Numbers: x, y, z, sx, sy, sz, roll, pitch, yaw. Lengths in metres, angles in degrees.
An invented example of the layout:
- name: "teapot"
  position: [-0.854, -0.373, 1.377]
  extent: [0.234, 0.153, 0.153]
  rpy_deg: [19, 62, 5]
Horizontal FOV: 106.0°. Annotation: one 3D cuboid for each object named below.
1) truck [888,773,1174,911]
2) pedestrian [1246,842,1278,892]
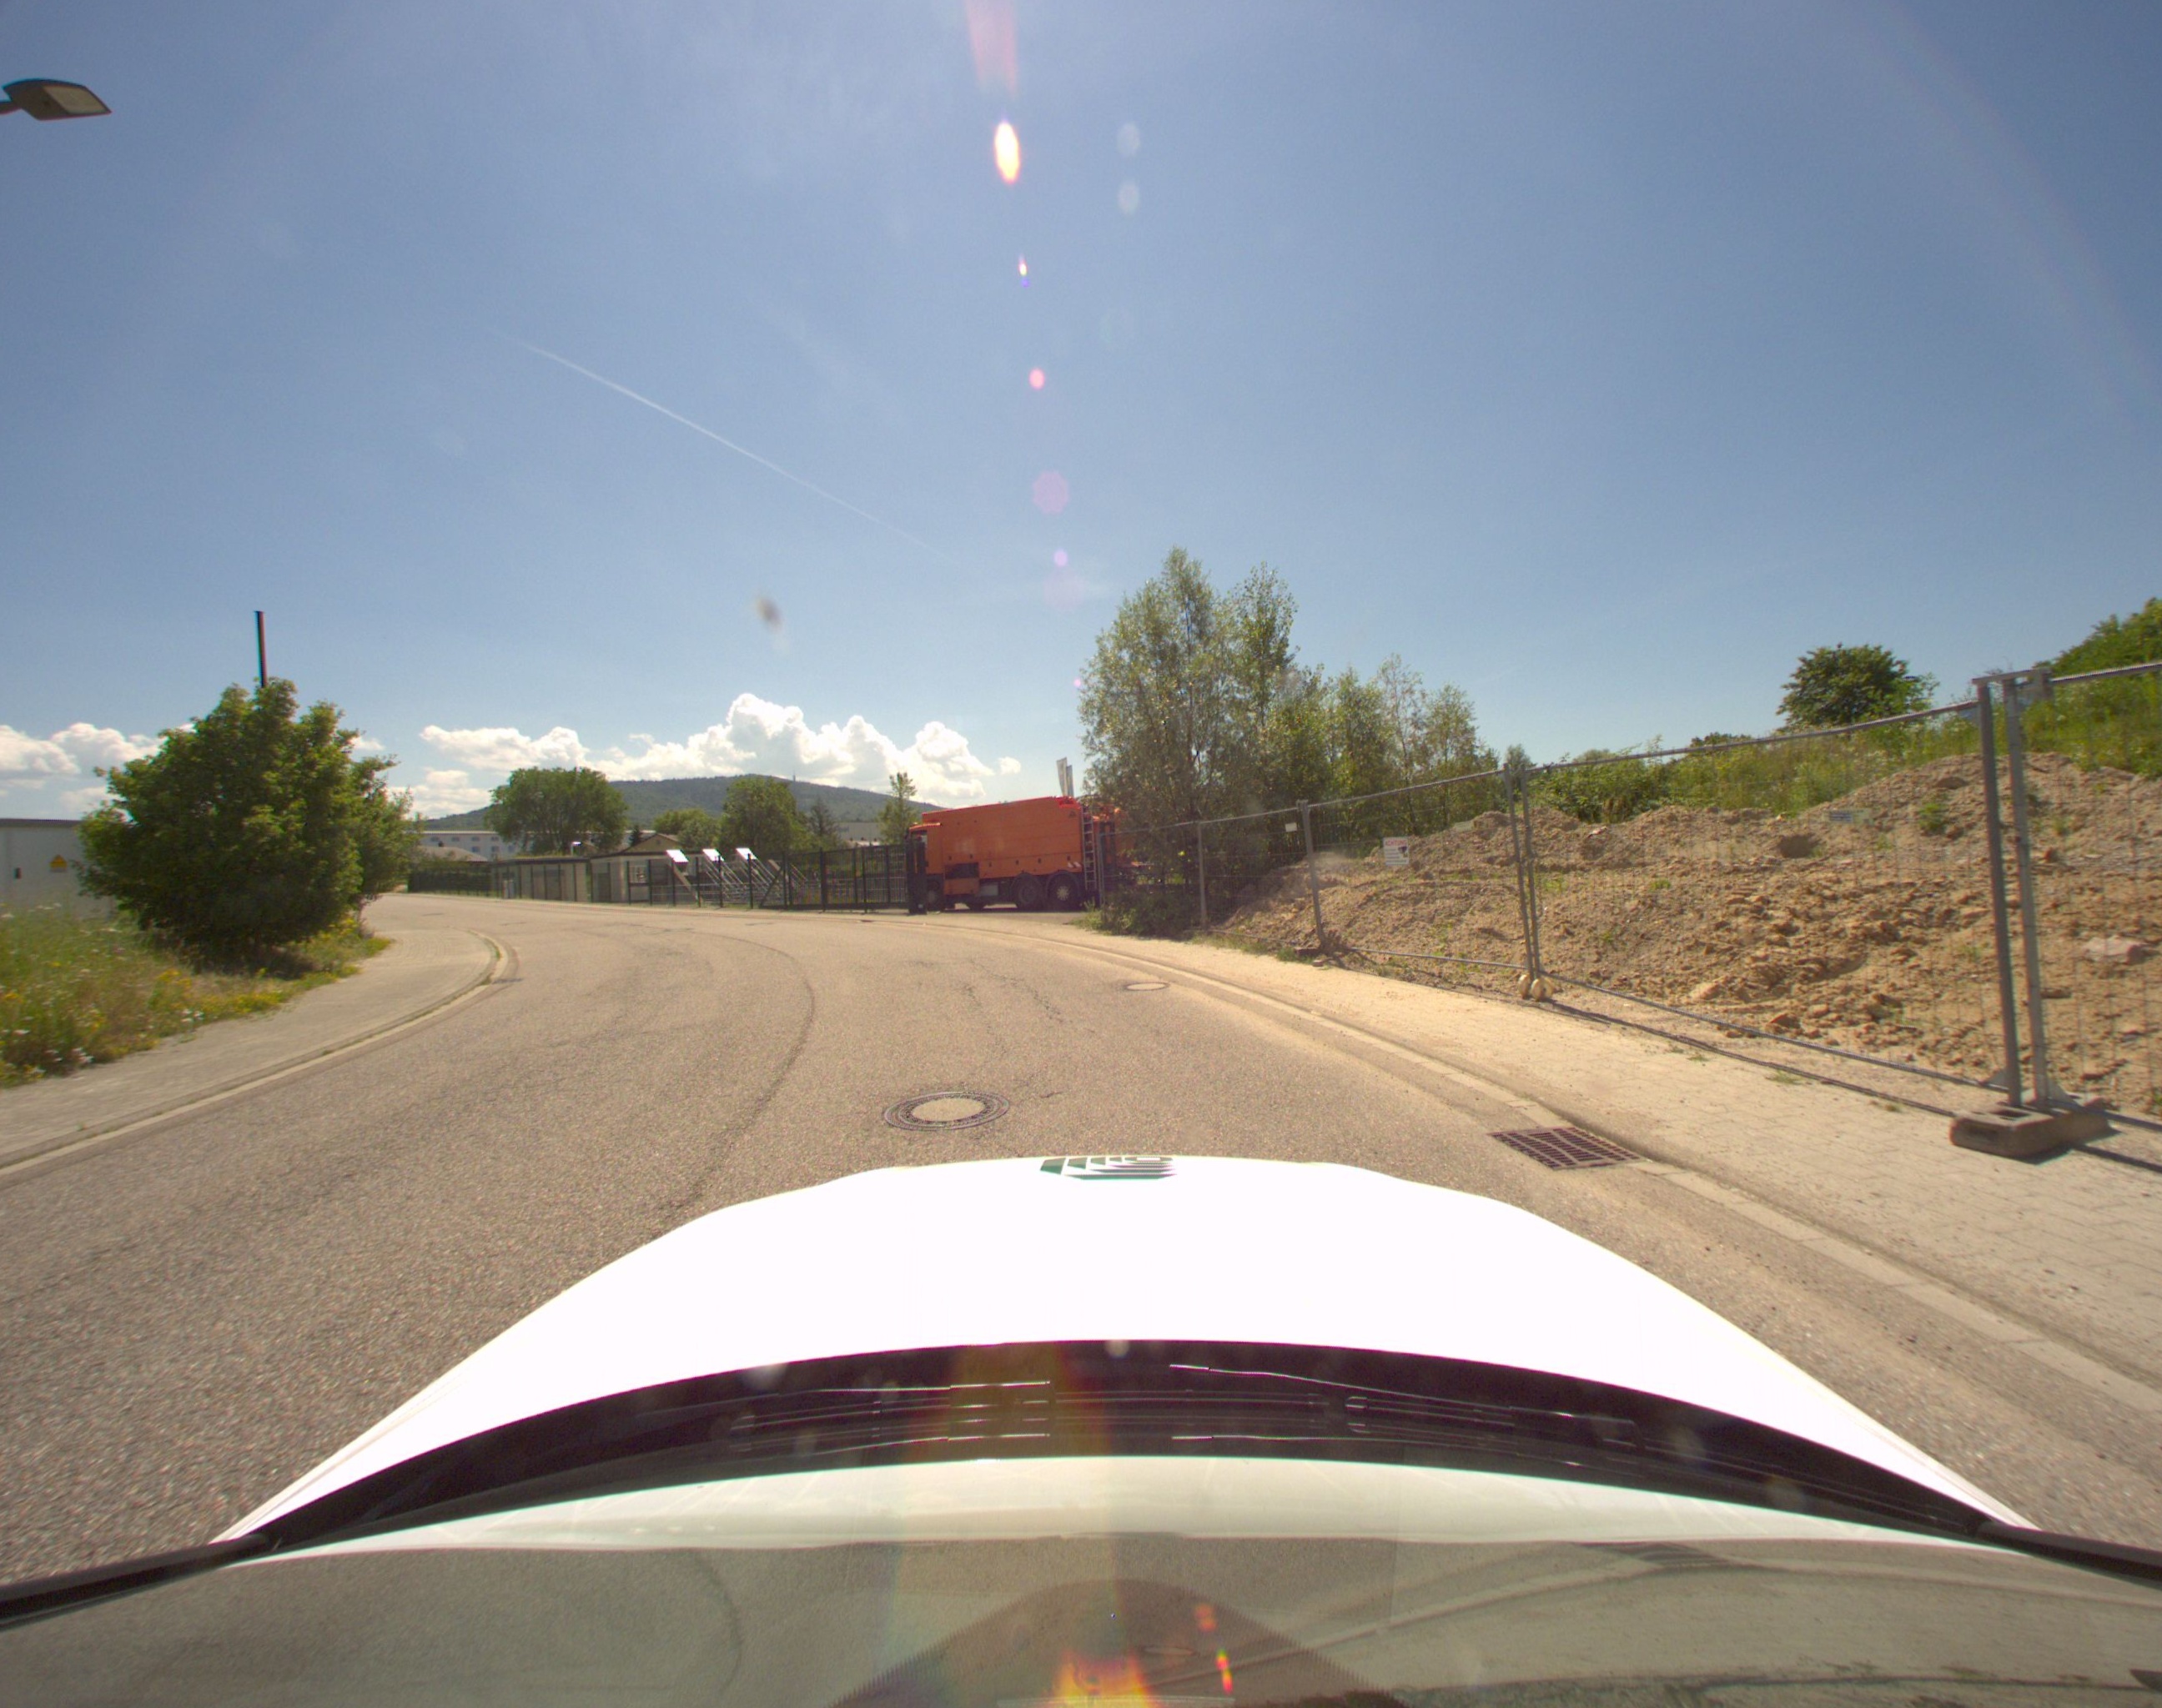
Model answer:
- name: "truck"
  position: [-1.775, -0.223, 27.124]
  extent: [8.499, 3.806, 4.191]
  rpy_deg: [-3, -1, 33]
- name: "pedestrian"
  position: [6.741, 0.495, 30.388]
  extent: [0.867, 1.825, 0.745]
  rpy_deg: [-2, 0, 35]
